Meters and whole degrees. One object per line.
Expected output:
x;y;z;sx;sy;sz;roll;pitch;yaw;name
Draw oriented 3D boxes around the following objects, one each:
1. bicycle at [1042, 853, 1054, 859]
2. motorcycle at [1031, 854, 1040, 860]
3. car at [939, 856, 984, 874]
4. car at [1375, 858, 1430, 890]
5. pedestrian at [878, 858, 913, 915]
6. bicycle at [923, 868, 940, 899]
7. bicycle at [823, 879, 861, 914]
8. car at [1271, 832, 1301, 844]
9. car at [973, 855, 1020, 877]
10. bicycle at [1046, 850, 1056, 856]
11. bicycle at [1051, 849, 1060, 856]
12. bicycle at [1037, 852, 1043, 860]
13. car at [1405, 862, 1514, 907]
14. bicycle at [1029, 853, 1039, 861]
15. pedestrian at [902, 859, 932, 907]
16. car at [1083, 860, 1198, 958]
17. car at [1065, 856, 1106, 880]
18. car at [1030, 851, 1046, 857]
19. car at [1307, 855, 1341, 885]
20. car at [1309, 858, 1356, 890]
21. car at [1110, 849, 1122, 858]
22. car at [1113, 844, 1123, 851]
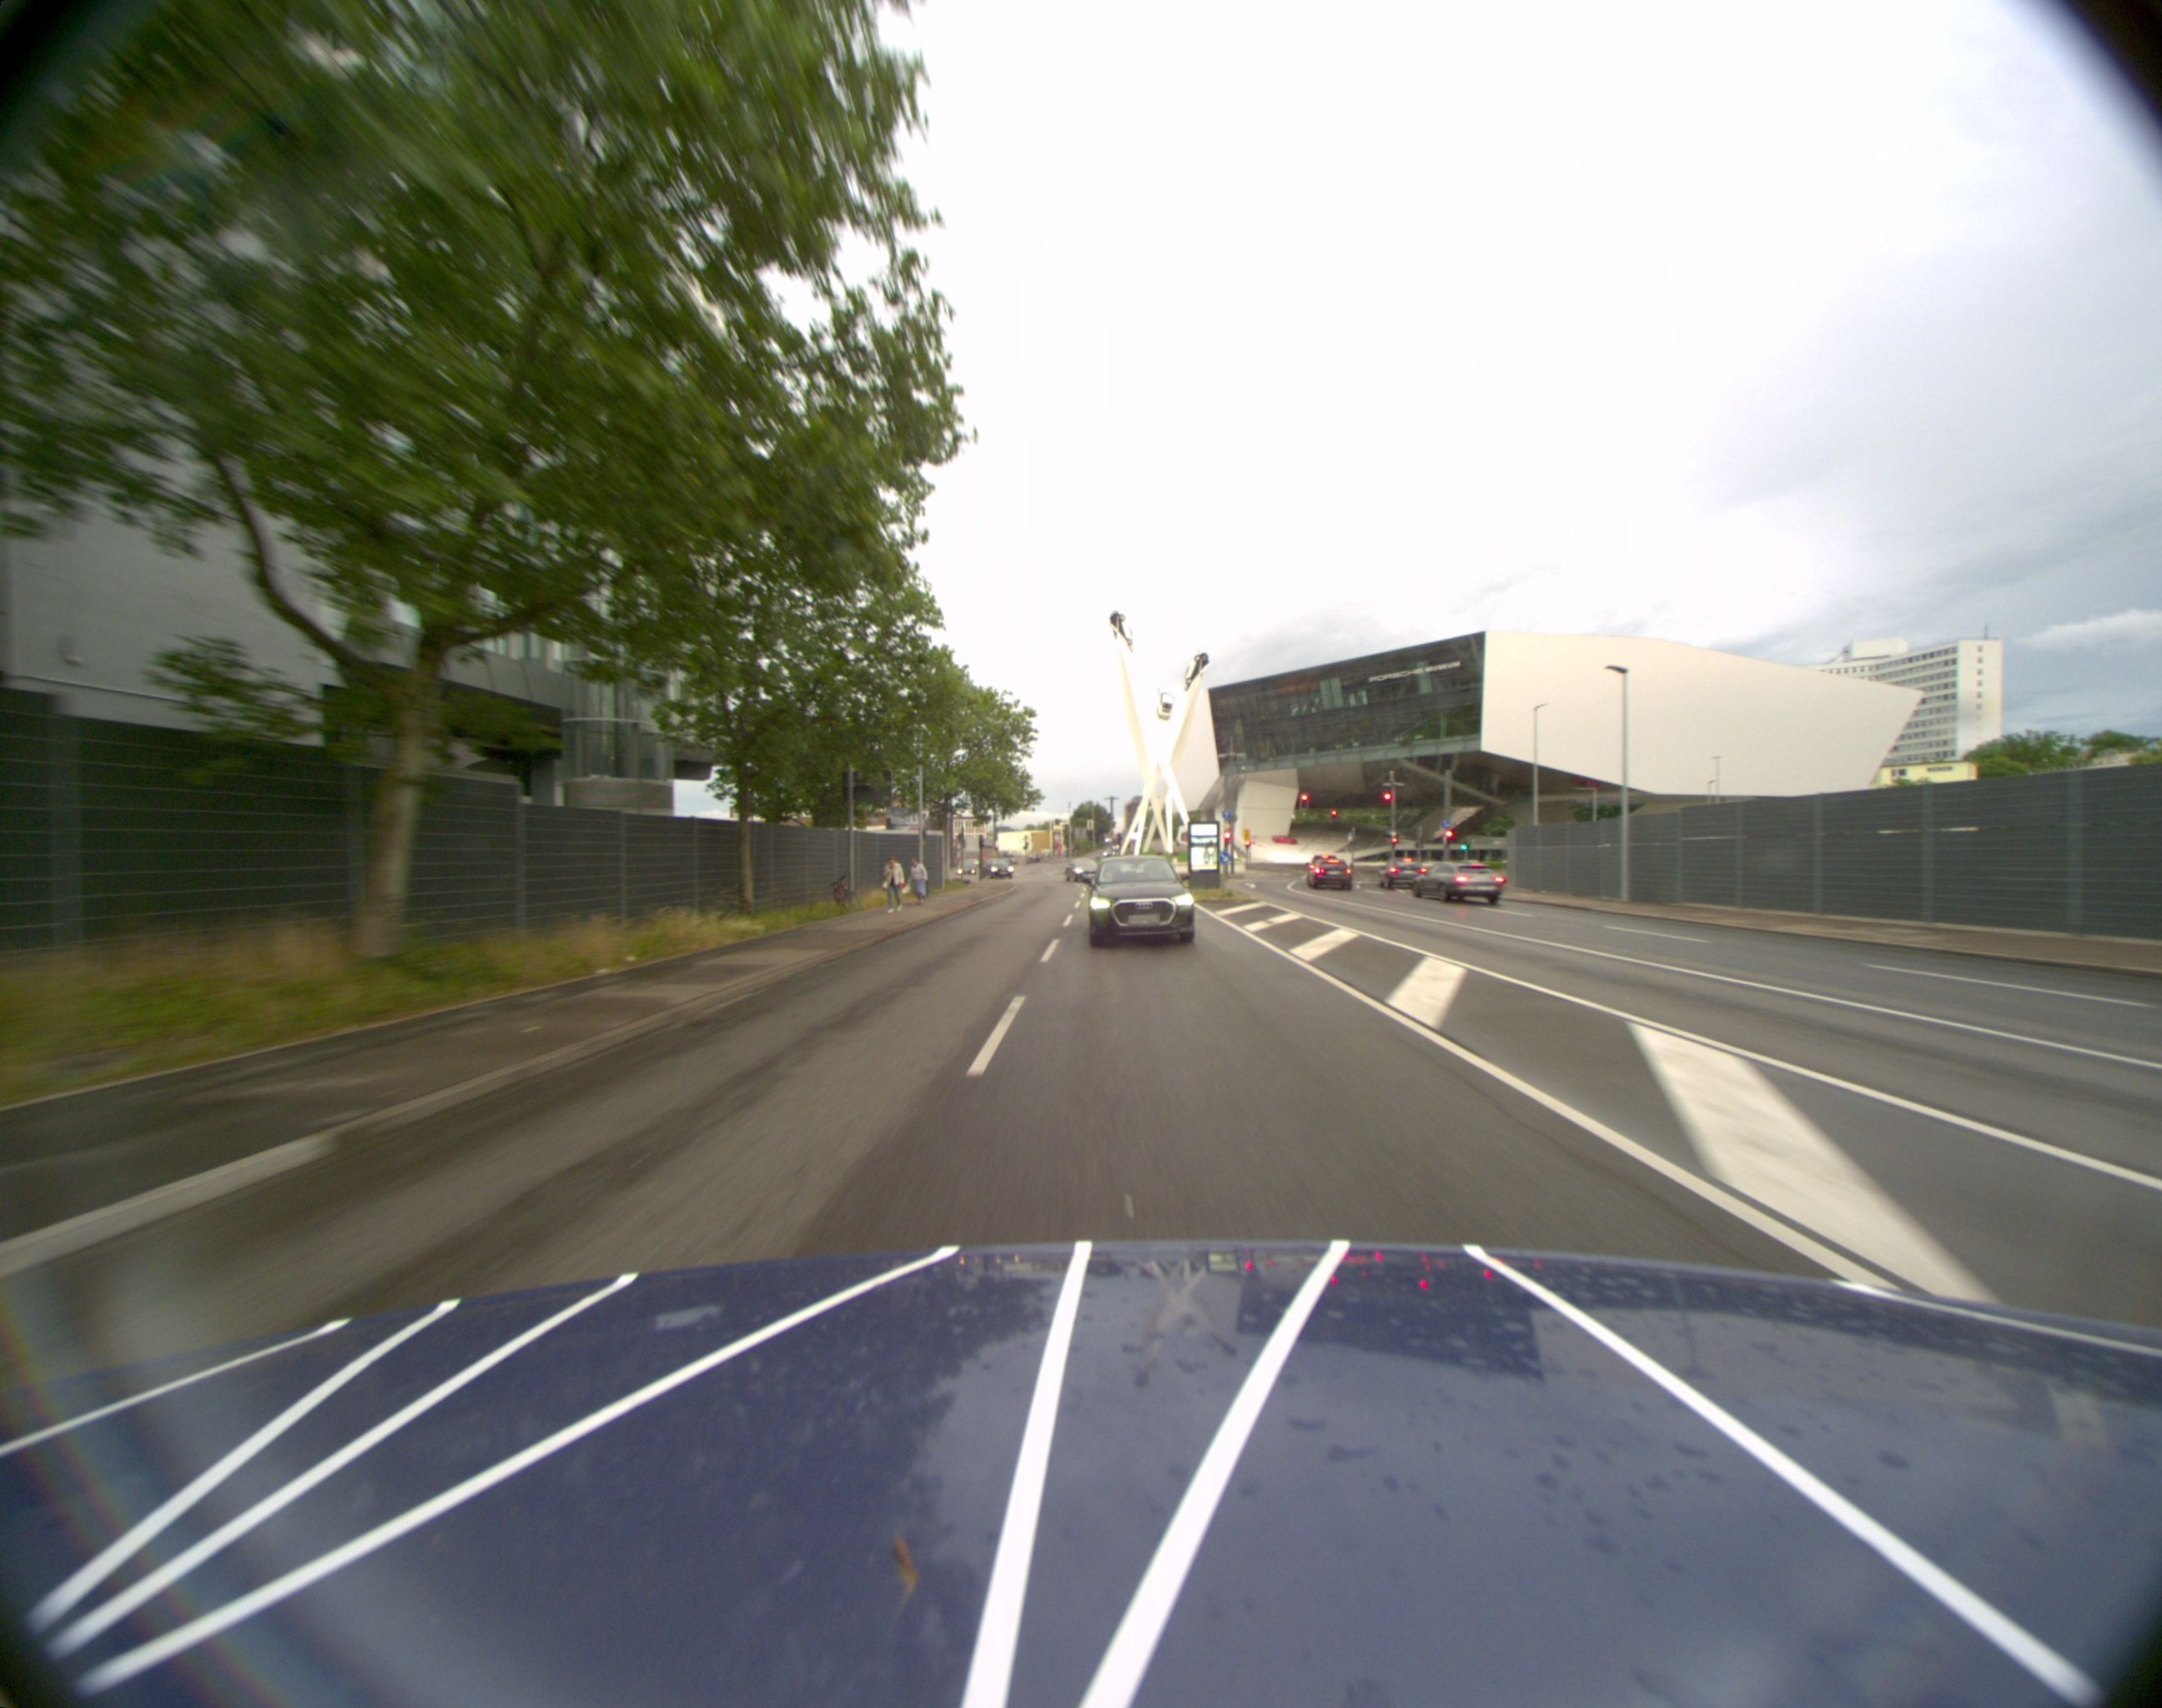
-5.110;0.281;118.634;1.743;0.956;0.422;-1;3;13;bicycle
-7.049;0.495;117.464;0.546;0.890;1.747;0;3;28;motorcycle
-11.245;1.035;71.890;4.068;1.466;1.748;-3;3;-8;car
16.080;0.972;38.242;1.785;1.446;4.565;1;0;13;car
-5.247;0.898;21.541;0.710;1.583;0.841;-1;1;4;pedestrian
-5.660;1.092;28.789;0.342;1.112;1.972;-1;0;-3;bicycle
-7.113;1.230;22.553;0.514;0.948;1.697;-1;0;-38;bicycle
32.934;-2.632;122.036;2.004;1.378;4.229;-3;9;-42;car
-6.460;0.902;57.717;1.697;1.499;4.000;-4;3;-36;car
-4.785;-0.141;121.283;1.613;0.916;0.422;-1;2;16;bicycle
-4.216;-0.306;126.972;1.464;1.068;0.442;-2;4;-26;bicycle
-6.298;0.333;117.239;0.400;1.169;2.016;-1;3;14;bicycle
13.429;1.043;27.286;1.787;1.377;4.547;1;0;3;car
-7.154;0.493;115.110;0.346;1.078;1.747;1;4;38;bicycle
-5.347;0.943;24.830;0.833;1.512;0.841;-1;1;-3;pedestrian
0.982;0.912;14.571;1.757;1.509;4.394;-2;0;-1;car
0.238;0.854;47.474;1.818;1.430;4.298;0;0;-10;car
-11.682;-0.066;206.939;4.000;1.417;1.719;-2;1;-9;car
13.908;0.894;43.562;1.785;1.579;4.572;-1;0;17;car
12.160;0.947;36.993;1.785;1.431;4.400;-1;0;13;car
5.833;-0.113;127.945;1.817;1.430;4.301;-1;0;-1;car
7.936;-1.406;161.579;1.817;1.430;4.301;-1;0;-1;car
